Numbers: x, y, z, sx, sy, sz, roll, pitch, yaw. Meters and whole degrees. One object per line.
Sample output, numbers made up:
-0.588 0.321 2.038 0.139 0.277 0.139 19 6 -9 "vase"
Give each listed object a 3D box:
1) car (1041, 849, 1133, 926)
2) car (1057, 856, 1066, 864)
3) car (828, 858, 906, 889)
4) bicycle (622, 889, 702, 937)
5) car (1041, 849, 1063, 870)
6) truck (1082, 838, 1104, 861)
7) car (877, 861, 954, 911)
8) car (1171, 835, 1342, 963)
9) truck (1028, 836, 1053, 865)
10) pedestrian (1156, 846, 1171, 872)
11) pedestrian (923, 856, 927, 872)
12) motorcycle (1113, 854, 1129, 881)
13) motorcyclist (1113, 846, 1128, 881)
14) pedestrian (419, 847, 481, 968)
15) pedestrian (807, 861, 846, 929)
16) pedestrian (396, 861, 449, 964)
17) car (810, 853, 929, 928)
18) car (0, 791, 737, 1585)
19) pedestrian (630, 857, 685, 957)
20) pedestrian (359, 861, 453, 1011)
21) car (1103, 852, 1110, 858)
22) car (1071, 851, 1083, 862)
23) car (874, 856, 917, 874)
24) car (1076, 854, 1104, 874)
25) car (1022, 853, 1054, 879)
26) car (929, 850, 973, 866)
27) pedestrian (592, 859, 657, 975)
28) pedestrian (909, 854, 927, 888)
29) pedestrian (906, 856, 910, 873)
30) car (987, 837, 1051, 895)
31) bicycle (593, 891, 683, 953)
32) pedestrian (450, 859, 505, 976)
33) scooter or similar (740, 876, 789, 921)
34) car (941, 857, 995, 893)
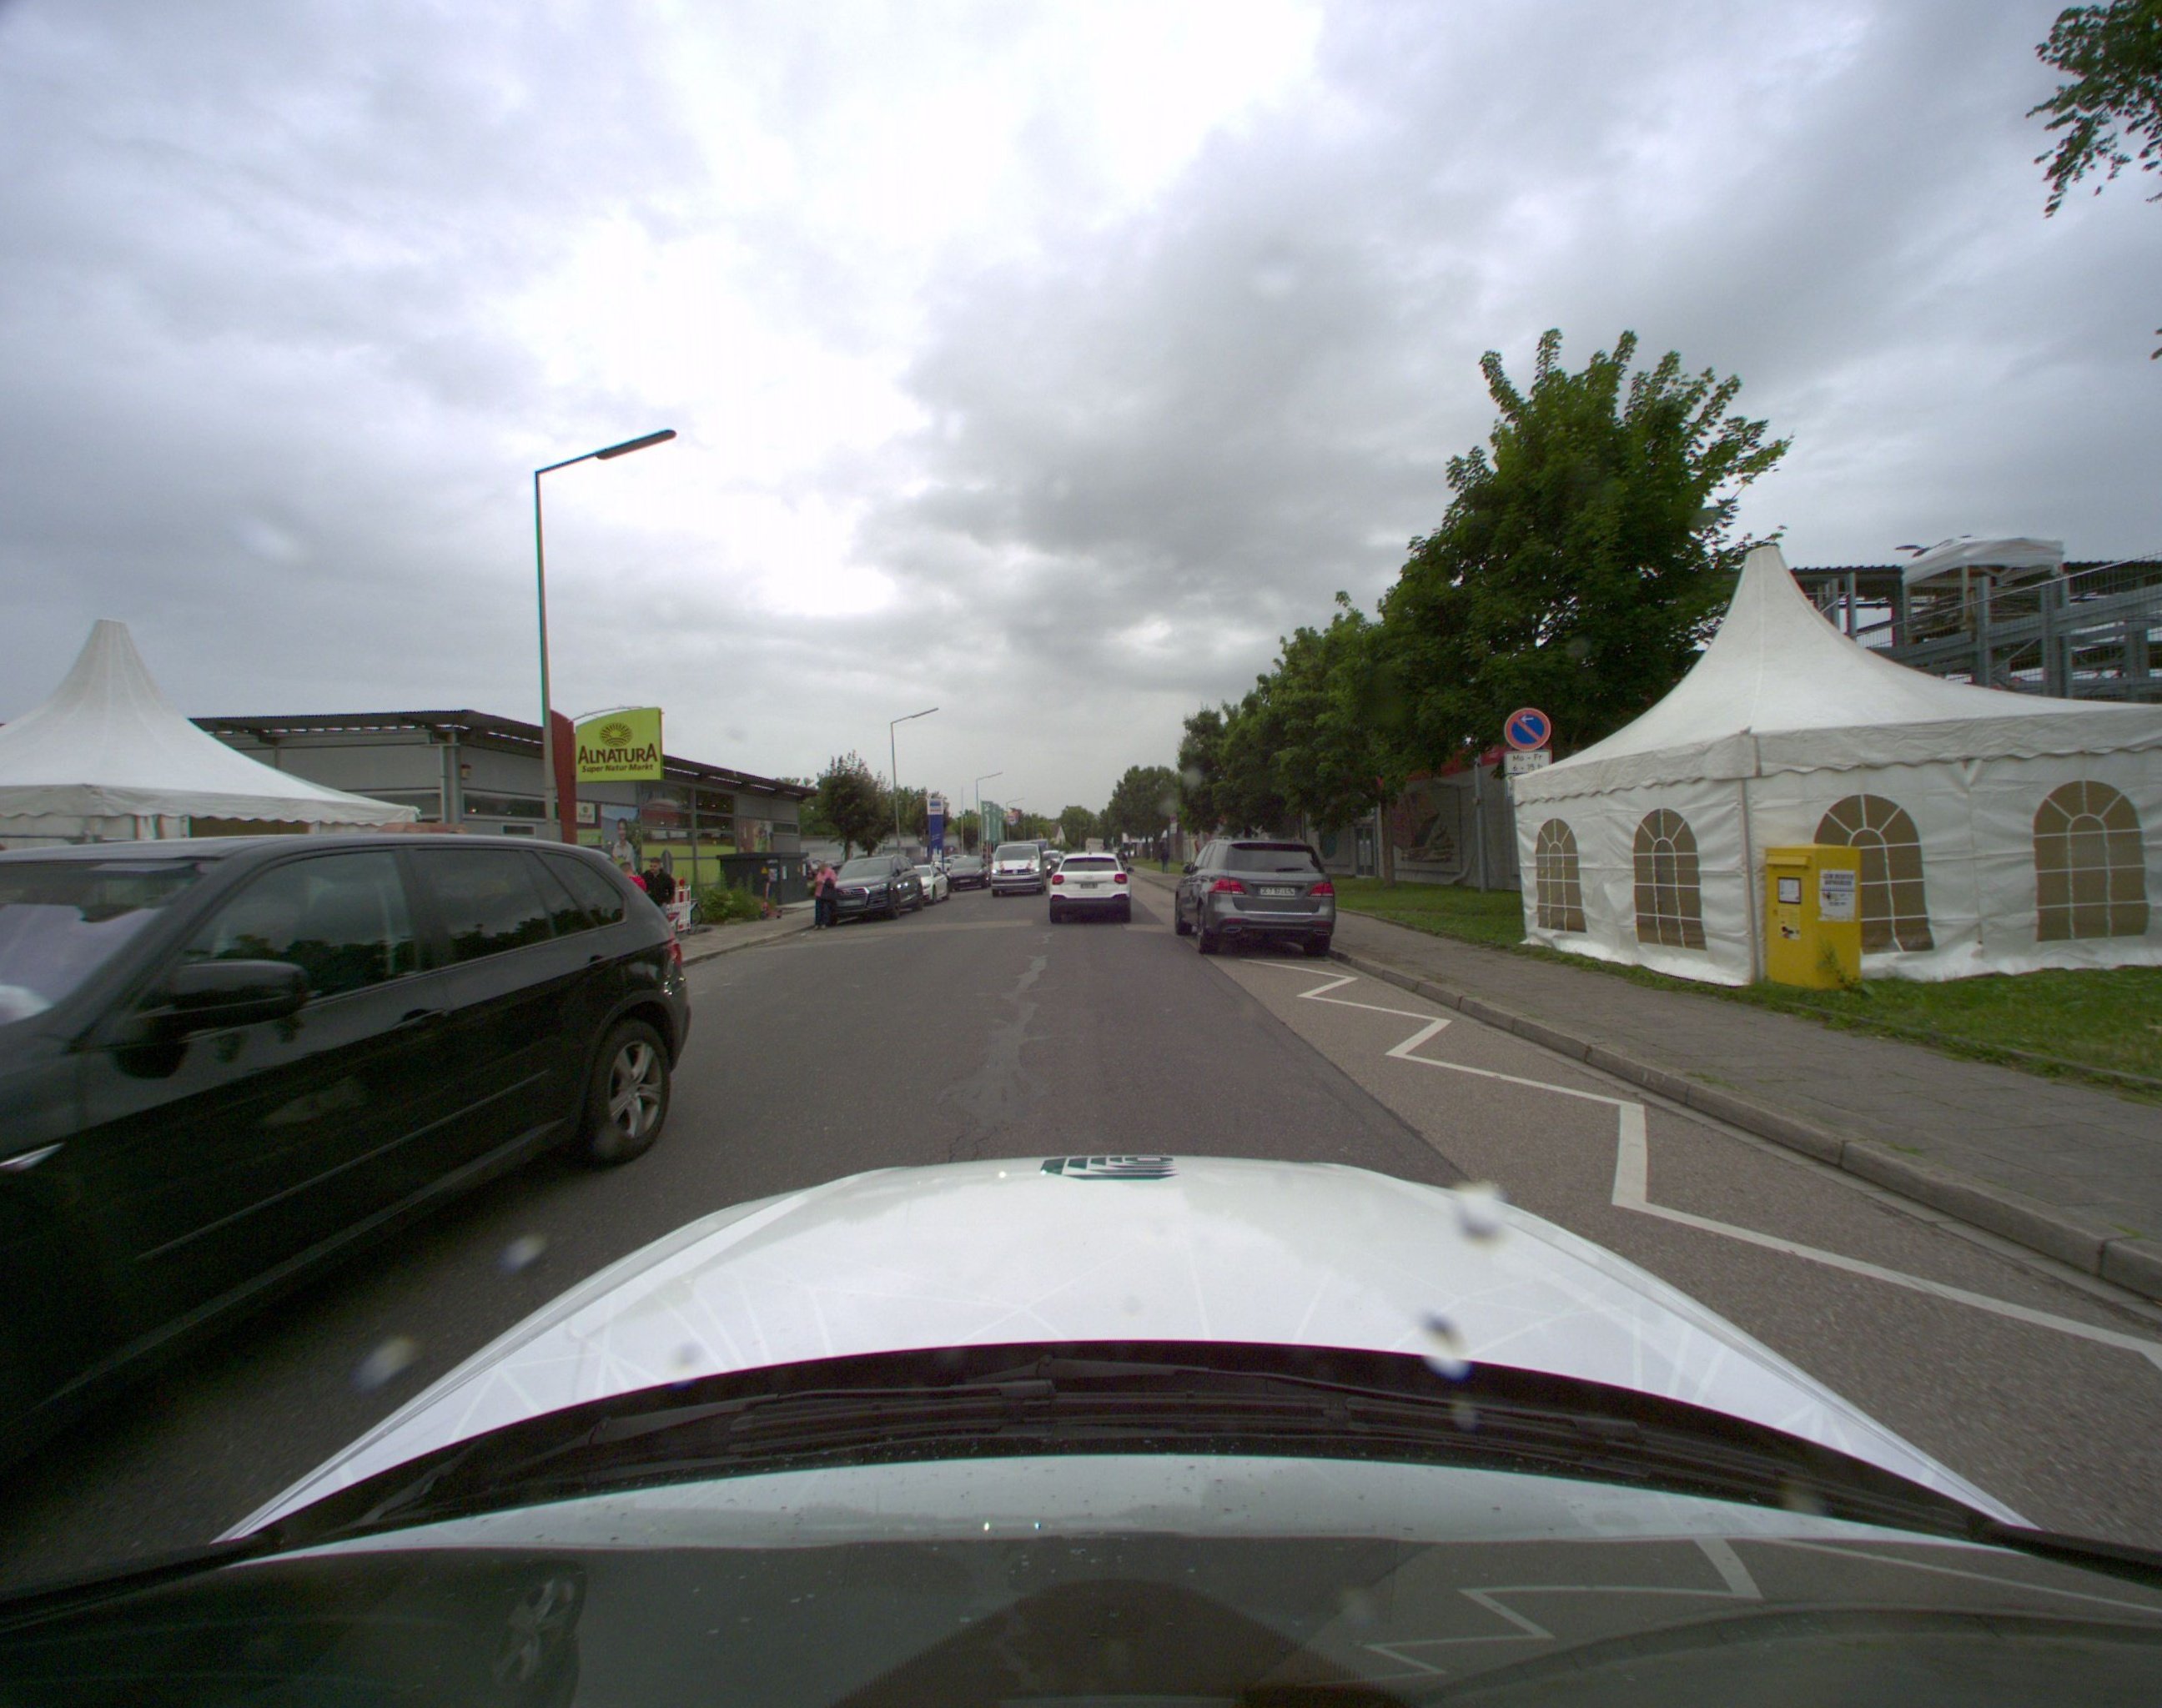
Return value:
0.143 0.694 19.118 1.880 1.531 4.254 -2 0 0 "car"
-3.817 1.130 162.525 1.593 1.528 3.528 -3 0 0 "car"
-11.971 1.084 45.742 3.861 1.620 1.927 -1 0 0 "car"
-10.030 1.399 19.503 1.656 1.046 0.392 -2 0 -3 "bicycle"
-2.650 0.469 74.041 1.684 1.761 4.135 -4 0 1 "car"
1.858 -0.605 132.135 3.126 3.585 10.044 0 -1 -1 "truck"
-5.745 1.058 28.797 1.694 1.367 4.516 -7 0 -1 "car"
2.693 0.623 13.563 1.902 1.741 4.480 1 0 0 "car"
-5.792 -0.452 117.998 2.964 3.955 6.404 -3 0 0 "truck"
5.357 0.320 53.064 0.915 1.635 0.853 0 -1 1 "pedestrian"
-15.897 1.002 82.971 0.330 1.570 0.501 -2 0 -14 "pedestrian"
1.807 0.586 36.948 0.638 1.178 2.114 -2 0 2 "motorcycle"
1.808 0.432 36.982 0.622 1.554 0.604 -2 0 1 "motorcyclist"
-10.108 0.836 13.060 0.637 1.865 0.388 -2 0 -24 "pedestrian"
-6.309 0.995 20.213 0.671 1.621 0.653 -3 0 0 "pedestrian"
-10.716 0.941 13.252 0.417 1.636 0.475 -2 0 24 "pedestrian"
-5.729 0.894 22.687 1.859 1.691 4.729 -5 0 1 "car"
-3.281 0.763 2.978 1.953 1.662 4.653 -4 0 0 "car"
-7.648 0.926 14.704 0.687 1.717 0.691 3 3 44 "pedestrian"
-8.259 0.977 9.992 0.487 1.749 0.692 -2 0 5 "pedestrian"
7.021 0.161 227.008 1.880 1.683 4.254 0 0 0 "car"
-0.750 0.432 139.757 1.865 1.662 3.997 -3 0 -2 "car"
-19.340 1.175 85.099 3.975 1.669 1.876 -2 0 -1 "car"
0.634 0.711 59.726 1.932 1.367 3.998 -3 0 -1 "car"
-2.742 0.741 52.599 1.723 1.571 3.946 -3 0 0 "car"
-12.663 0.396 79.433 4.130 1.463 1.895 -2 0 -6 "car"
-7.215 0.970 12.890 0.405 1.754 0.725 -2 0 25 "pedestrian"
-8.367 0.870 41.742 0.774 1.715 0.696 -1 0 -5 "pedestrian"
-17.748 1.033 83.533 0.263 1.730 0.420 -2 0 -13 "pedestrian"
-2.277 0.446 31.400 1.920 2.014 4.957 0 -1 2 "car"
-8.693 1.307 16.070 0.541 1.077 1.904 -2 -1 6 "bicycle"
-8.525 0.874 11.519 0.542 1.612 0.486 0 -1 -28 "pedestrian"
-8.883 1.226 22.941 0.659 1.157 1.642 -2 0 2 "scooter or similar"
-5.388 0.955 39.440 1.940 1.526 4.402 -2 0 0 "car"
